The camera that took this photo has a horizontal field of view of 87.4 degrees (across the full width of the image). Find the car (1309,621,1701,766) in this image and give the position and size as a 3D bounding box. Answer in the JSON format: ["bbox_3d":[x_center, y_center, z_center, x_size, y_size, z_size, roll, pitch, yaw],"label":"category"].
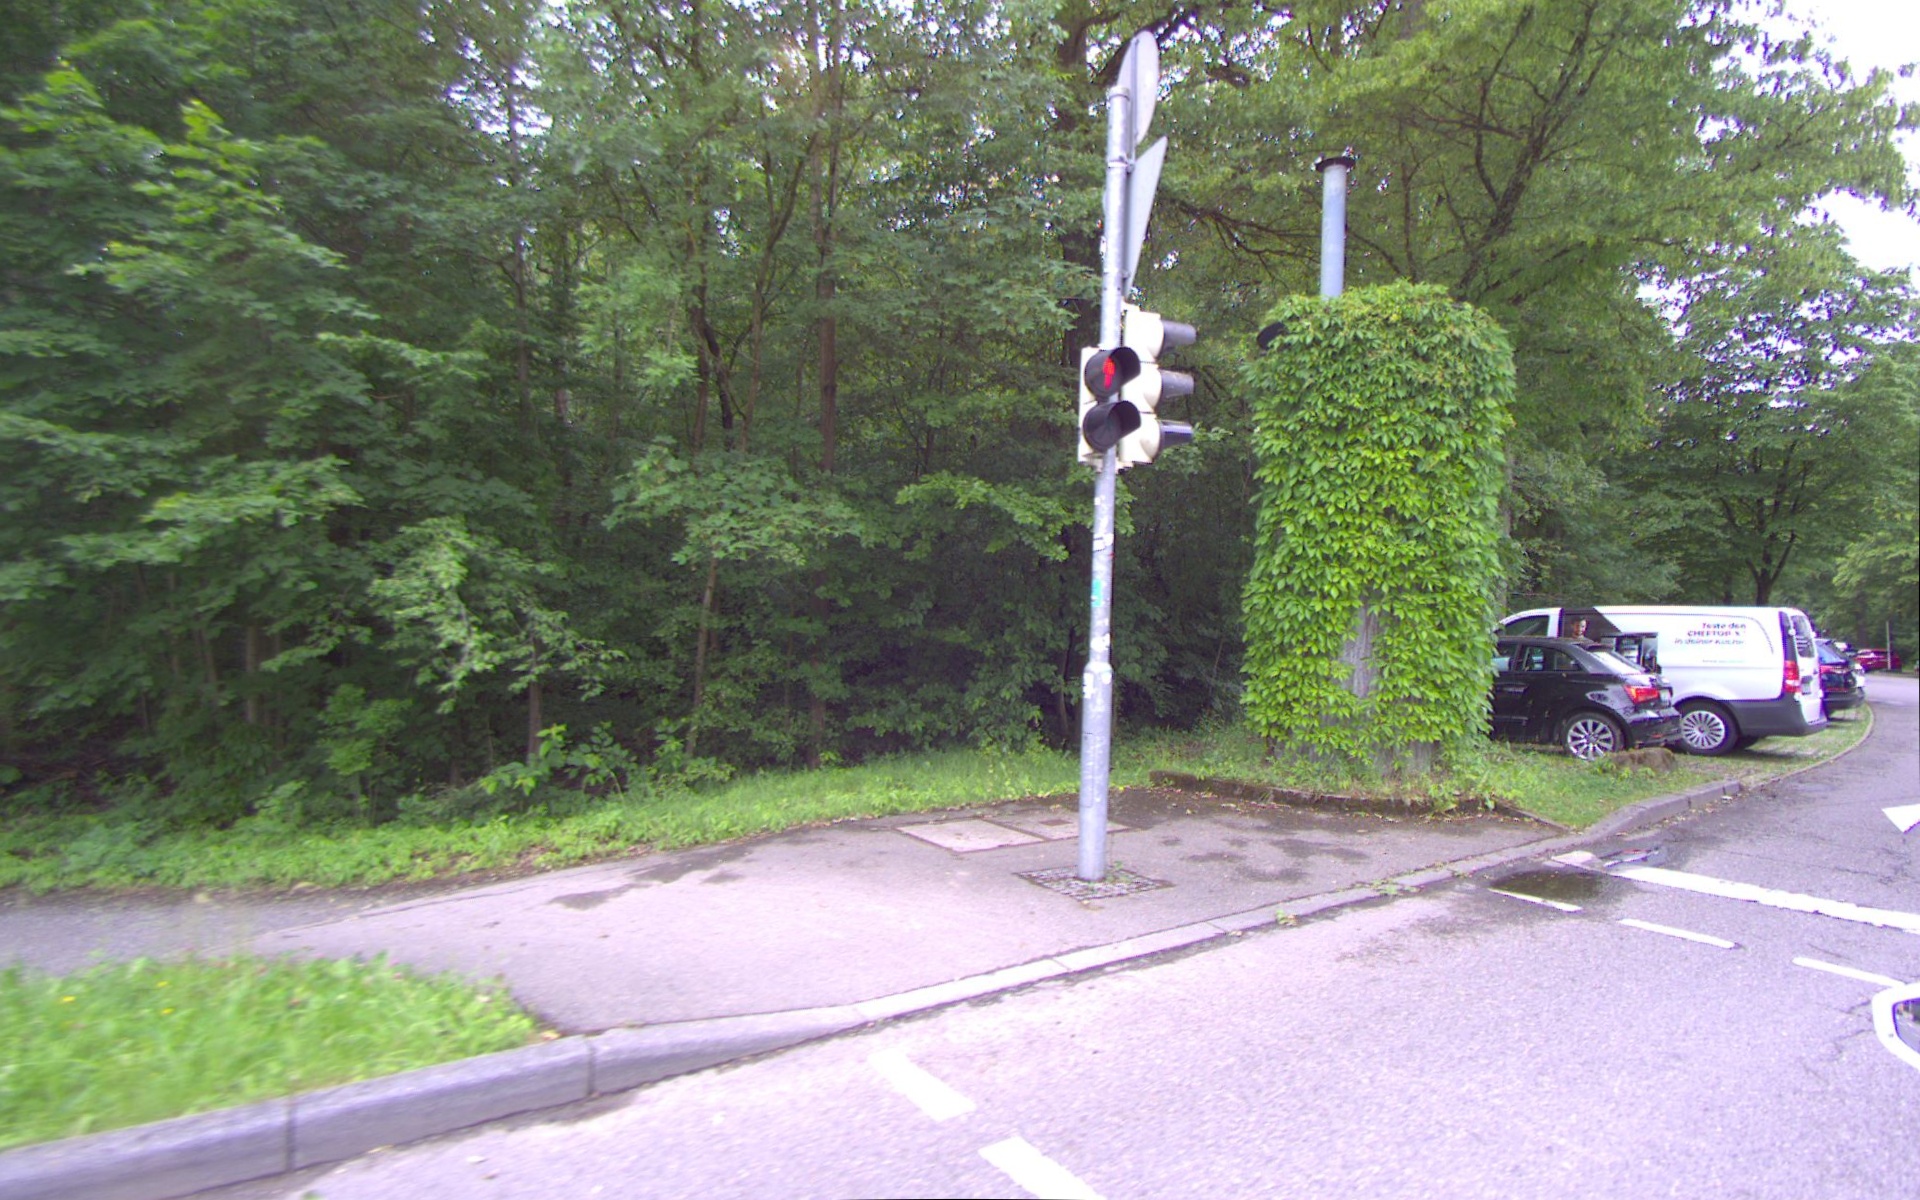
[{"bbox_3d":[6.625,1.024,12.524,1.710,1.397,3.951,2,-1,-42],"label":"car"}]

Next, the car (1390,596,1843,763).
[{"bbox_3d":[8.999,0.957,14.190,1.963,1.940,5.041,2,-2,-41],"label":"car"}]

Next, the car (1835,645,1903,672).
[{"bbox_3d":[55.015,3.511,60.894,1.964,1.498,4.964,2,-1,29],"label":"car"}]

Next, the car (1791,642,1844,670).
[{"bbox_3d":[60.174,3.926,70.541,1.717,1.804,4.547,2,-1,27],"label":"car"}]

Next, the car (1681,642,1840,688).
[{"bbox_3d":[30.035,2.409,37.918,4.580,1.497,2.087,0,-2,37],"label":"car"}]

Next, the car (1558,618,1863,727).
[{"bbox_3d":[14.216,1.273,19.202,2.156,1.717,4.382,2,-1,-44],"label":"car"}]

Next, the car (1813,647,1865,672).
[{"bbox_3d":[57.605,3.882,65.886,1.700,1.441,4.277,2,-1,29],"label":"car"}]

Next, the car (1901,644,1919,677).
[{"bbox_3d":[51.157,3.188,51.270,4.205,1.688,1.954,1,-1,32],"label":"car"}]

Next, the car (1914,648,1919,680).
[{"bbox_3d":[49.560,3.236,49.006,3.925,1.572,1.974,2,-1,26],"label":"car"}]

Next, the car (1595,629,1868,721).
[{"bbox_3d":[15.994,1.487,20.956,4.310,1.619,2.019,0,-2,45],"label":"car"}]

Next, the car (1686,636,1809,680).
[{"bbox_3d":[33.038,2.398,42.166,3.918,1.649,1.987,0,-2,44],"label":"car"}]
